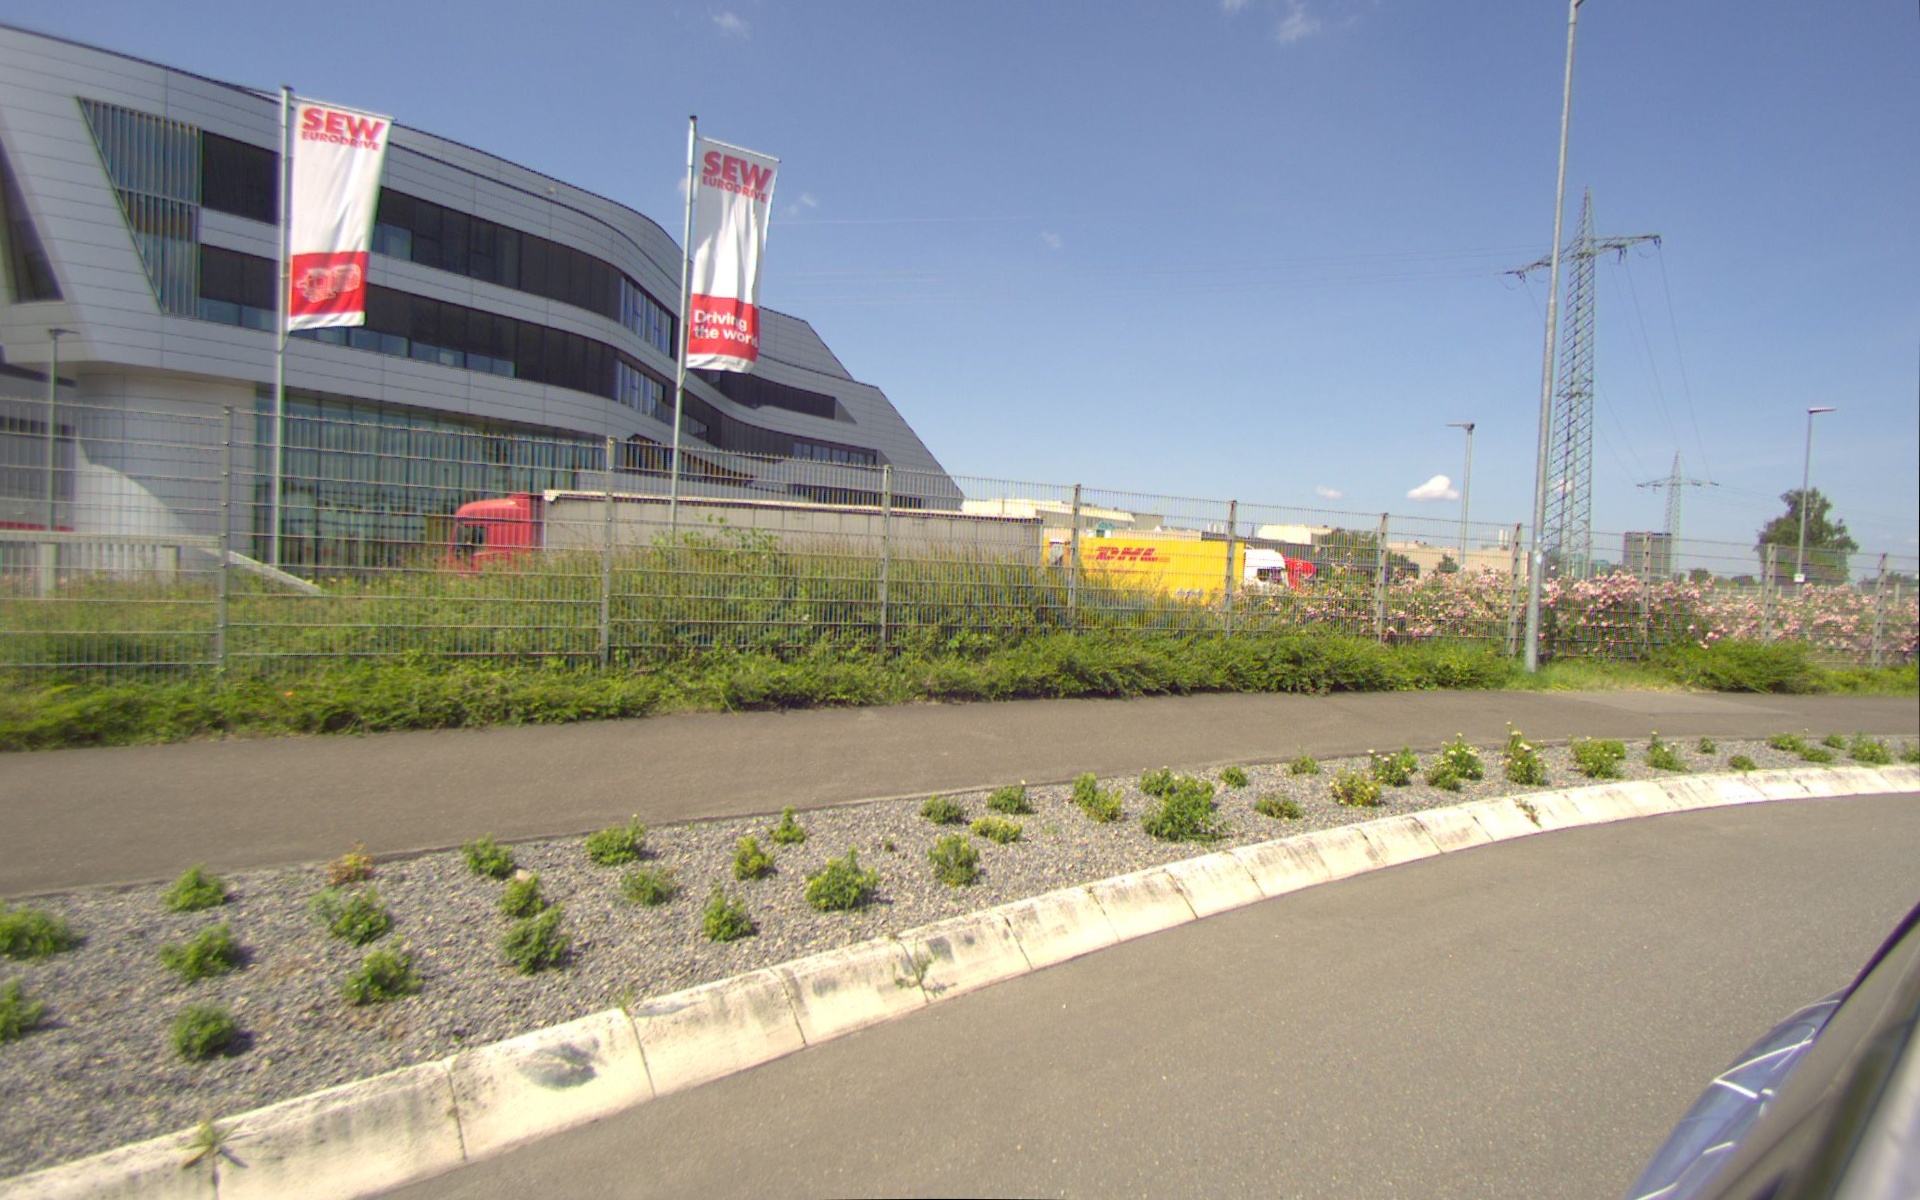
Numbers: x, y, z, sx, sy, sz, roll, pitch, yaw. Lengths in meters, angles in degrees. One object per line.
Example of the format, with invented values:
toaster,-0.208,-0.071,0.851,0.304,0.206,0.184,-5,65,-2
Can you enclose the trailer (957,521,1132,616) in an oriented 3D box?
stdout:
trailer,4.336,-1.691,53.205,8.544,4.347,3.033,3,3,-3

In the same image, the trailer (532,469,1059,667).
trailer,-4.408,-0.880,28.477,13.784,4.490,2.771,3,3,-4

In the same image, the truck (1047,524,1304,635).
truck,9.622,-0.968,45.855,10.758,4.222,2.826,3,3,-3

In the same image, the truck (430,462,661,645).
truck,-11.283,-1.284,27.948,5.185,4.475,2.771,3,3,-5

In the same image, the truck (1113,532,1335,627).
truck,13.917,-1.147,53.840,10.756,4.307,3.033,3,3,-4

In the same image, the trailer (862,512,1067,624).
trailer,0.119,-1.450,44.967,8.538,4.347,2.908,3,3,-7
